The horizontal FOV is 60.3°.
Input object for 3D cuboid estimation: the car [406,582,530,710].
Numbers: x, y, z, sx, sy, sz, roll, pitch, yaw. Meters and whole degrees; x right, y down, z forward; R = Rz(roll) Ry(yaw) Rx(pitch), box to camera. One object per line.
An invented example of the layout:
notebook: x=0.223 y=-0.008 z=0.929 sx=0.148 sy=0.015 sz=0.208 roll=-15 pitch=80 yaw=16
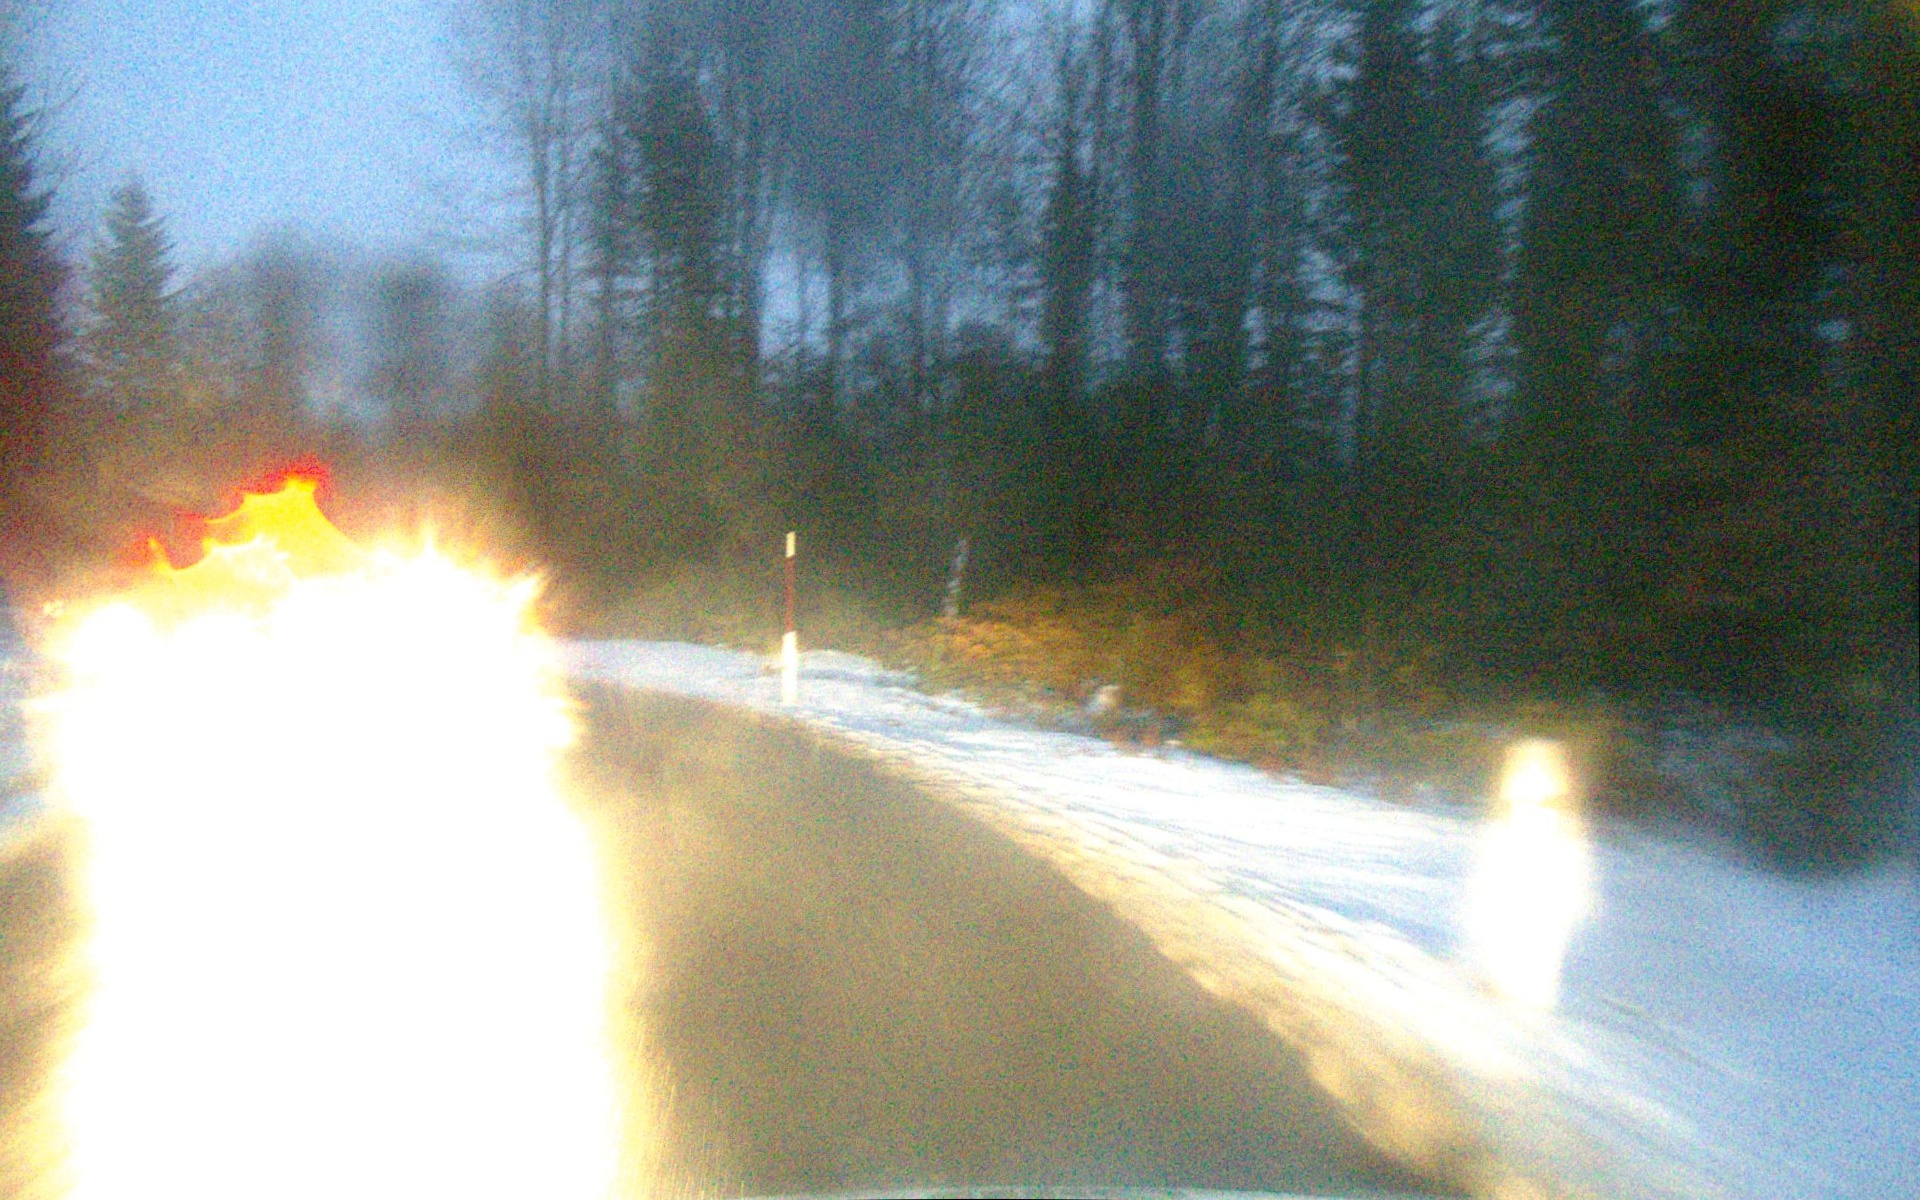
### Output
car: x=-8.773 y=0.780 z=29.526 sx=1.962 sy=2.087 sz=3.981 roll=-1 pitch=0 yaw=-17

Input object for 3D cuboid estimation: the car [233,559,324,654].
car: x=-20.529 y=0.216 z=49.712 sx=2.225 sy=2.692 sz=4.964 roll=-1 pitch=-1 yaw=-26

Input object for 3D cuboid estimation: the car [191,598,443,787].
car: x=-6.143 y=0.773 z=16.270 sx=1.744 sy=1.518 sz=4.531 roll=-1 pitch=1 yaw=-15
